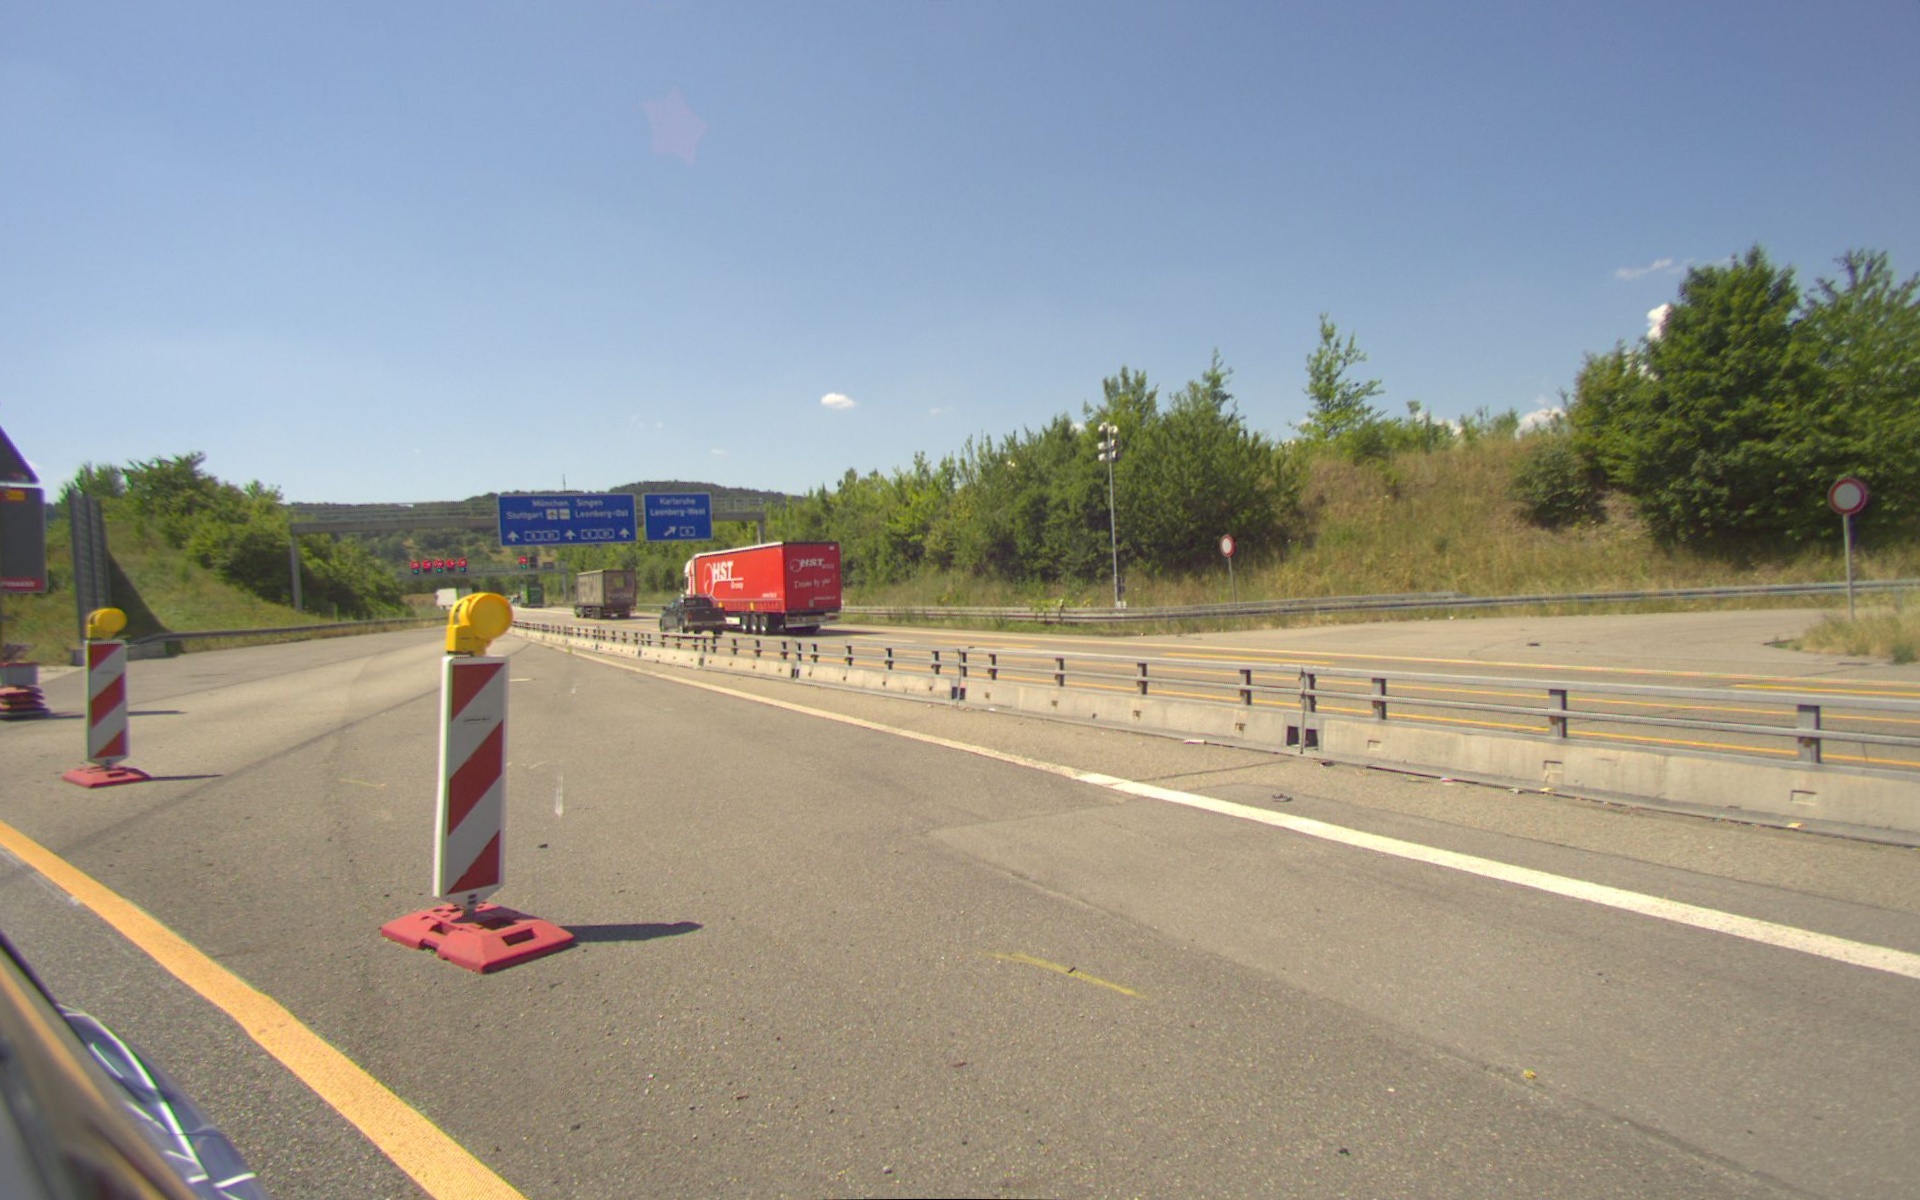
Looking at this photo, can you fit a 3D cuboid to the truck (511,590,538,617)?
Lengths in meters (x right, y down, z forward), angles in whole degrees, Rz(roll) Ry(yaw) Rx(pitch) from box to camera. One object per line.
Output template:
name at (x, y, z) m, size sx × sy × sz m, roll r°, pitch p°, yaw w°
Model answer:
truck at (-76.669, 0.601, 178.008) m, size 3.497 × 4.301 × 5.797 m, roll -4°, pitch 2°, yaw -29°

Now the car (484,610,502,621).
car at (-64.033, 2.133, 138.633) m, size 1.693 × 1.502 × 3.698 m, roll -3°, pitch 1°, yaw -33°

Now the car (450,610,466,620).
car at (-81.239, 2.426, 163.753) m, size 1.692 × 1.635 × 4.182 m, roll -4°, pitch 1°, yaw -32°

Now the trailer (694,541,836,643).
trailer at (-9.530, -0.312, 47.638) m, size 2.305 × 4.133 × 13.302 m, roll -3°, pitch 1°, yaw -29°

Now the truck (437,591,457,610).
truck at (-120.689, 0.108, 237.872) m, size 3.497 × 4.301 × 13.952 m, roll -4°, pitch 2°, yaw -29°

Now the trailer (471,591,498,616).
trailer at (-89.515, 0.700, 190.305) m, size 3.497 × 4.301 × 13.952 m, roll -4°, pitch 2°, yaw -29°

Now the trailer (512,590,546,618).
trailer at (-73.273, 0.609, 171.853) m, size 3.497 × 4.301 × 13.952 m, roll -4°, pitch 2°, yaw -29°

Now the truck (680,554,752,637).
truck at (-13.064, -0.240, 54.006) m, size 2.302 × 4.138 × 5.033 m, roll -3°, pitch 1°, yaw -29°

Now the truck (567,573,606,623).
truck at (-34.163, -0.165, 92.397) m, size 2.398 × 4.301 × 4.853 m, roll -3°, pitch 1°, yaw -30°

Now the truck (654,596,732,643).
truck at (-11.921, 0.870, 44.944) m, size 1.966 × 1.887 × 4.774 m, roll -3°, pitch 0°, yaw -32°

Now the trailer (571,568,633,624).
trailer at (-30.690, -0.243, 86.274) m, size 2.402 × 4.328 × 13.851 m, roll -3°, pitch 1°, yaw -30°
